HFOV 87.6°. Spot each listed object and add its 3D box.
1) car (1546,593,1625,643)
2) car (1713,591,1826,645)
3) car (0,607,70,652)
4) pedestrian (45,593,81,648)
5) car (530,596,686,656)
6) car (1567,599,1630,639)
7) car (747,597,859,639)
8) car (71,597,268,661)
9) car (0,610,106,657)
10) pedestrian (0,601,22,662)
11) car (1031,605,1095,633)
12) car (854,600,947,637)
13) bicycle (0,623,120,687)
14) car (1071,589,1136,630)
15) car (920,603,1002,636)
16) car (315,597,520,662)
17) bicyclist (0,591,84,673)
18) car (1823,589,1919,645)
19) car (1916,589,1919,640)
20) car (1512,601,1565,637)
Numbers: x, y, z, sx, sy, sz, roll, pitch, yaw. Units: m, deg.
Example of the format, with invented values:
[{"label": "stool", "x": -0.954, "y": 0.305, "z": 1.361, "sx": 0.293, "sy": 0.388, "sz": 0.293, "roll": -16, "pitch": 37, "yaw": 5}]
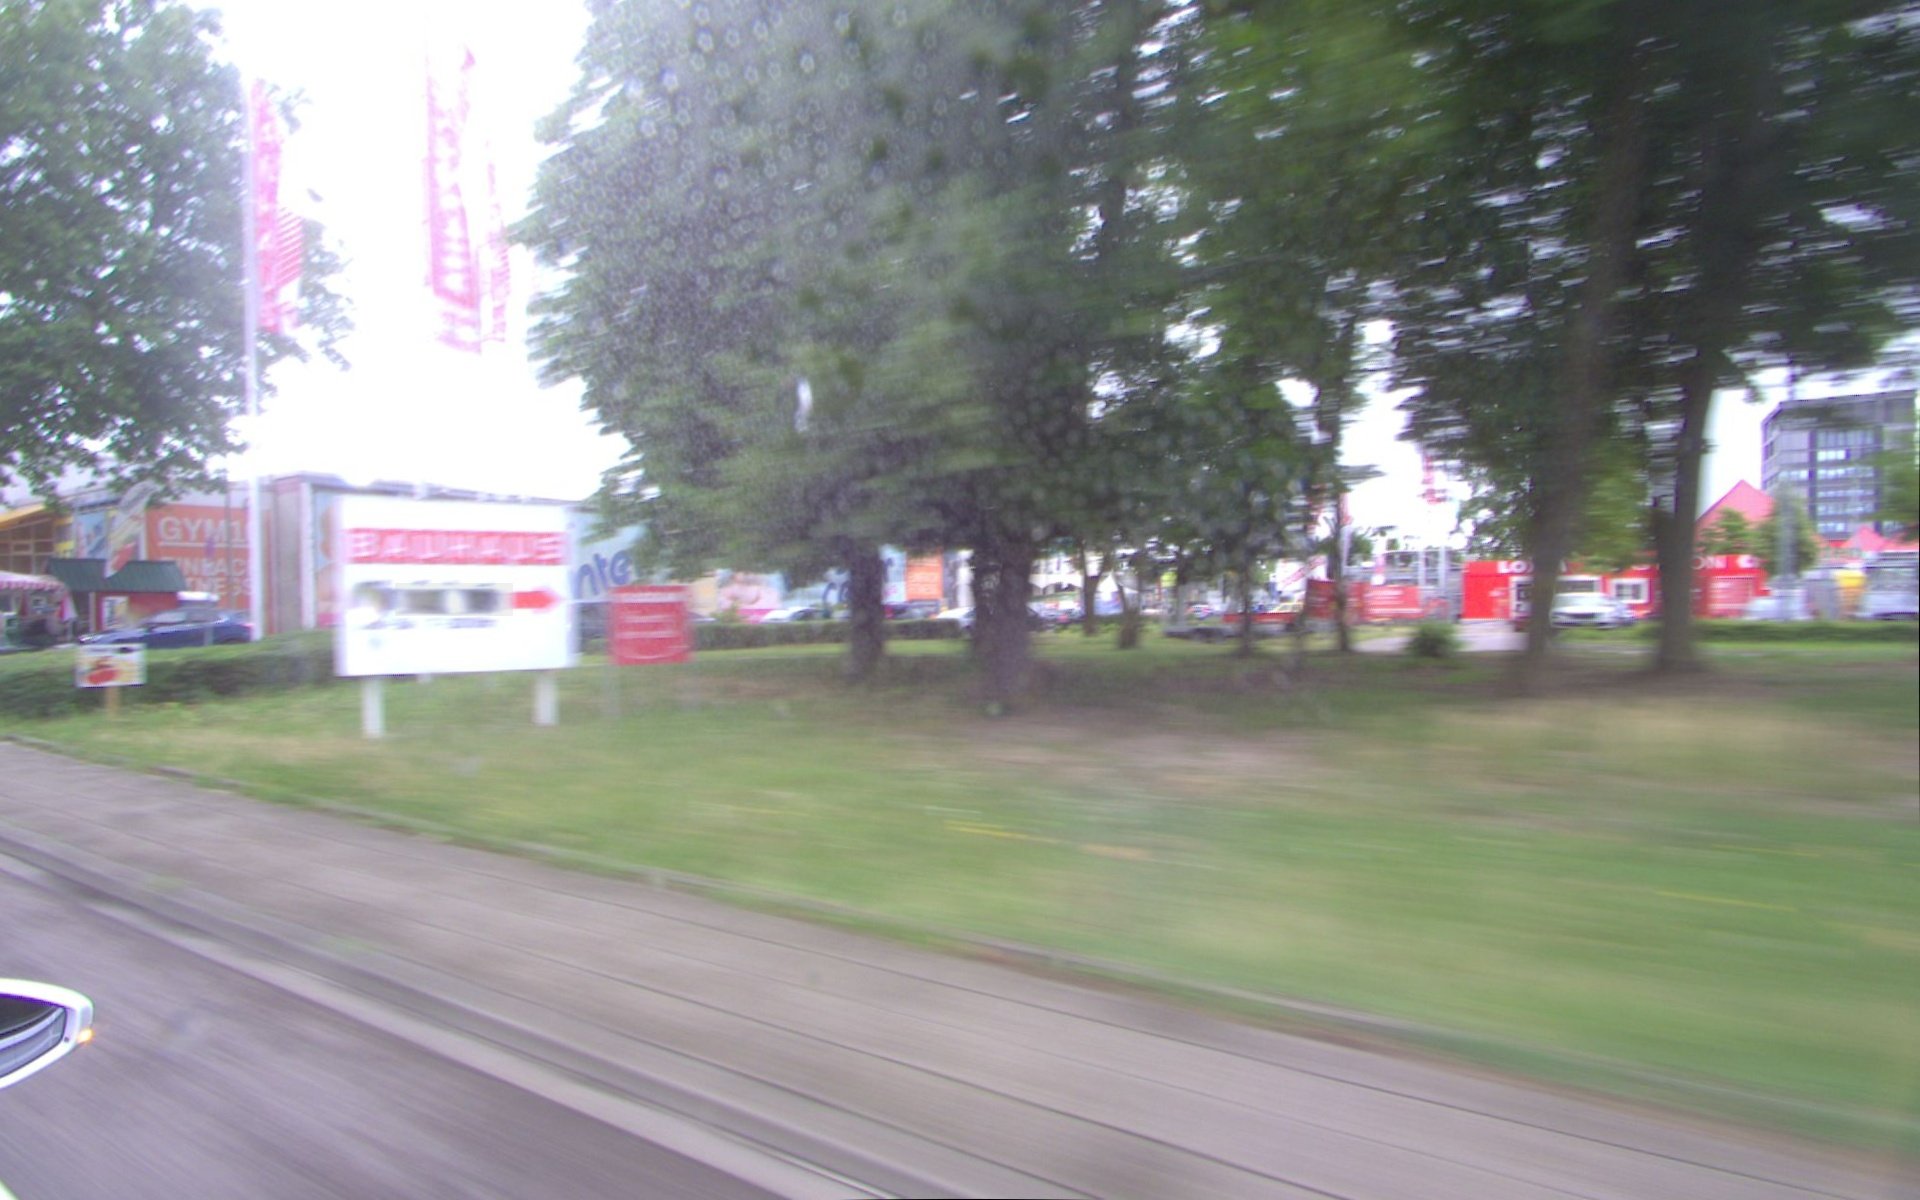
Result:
[{"label": "car", "x": 22.697, "y": 0.608, "z": 36.507, "sx": 2.122, "sy": 1.699, "sz": 4.548, "roll": -1, "pitch": 0, "yaw": 28}, {"label": "car", "x": 27.037, "y": 0.565, "z": 33.609, "sx": 2.122, "sy": 1.699, "sz": 4.548, "roll": -1, "pitch": 0, "yaw": 28}, {"label": "car", "x": -34.750, "y": 1.079, "z": 35.692, "sx": 1.763, "sy": 1.572, "sz": 4.206, "roll": -1, "pitch": 0, "yaw": 30}, {"label": "pedestrian", "x": -28.548, "y": 0.646, "z": 31.864, "sx": 0.589, "sy": 1.728, "sz": 0.678, "roll": 0, "pitch": 1, "yaw": 31}, {"label": "car", "x": -11.458, "y": 0.806, "z": 32.902, "sx": 2.044, "sy": 1.814, "sz": 4.542, "roll": 1, "pitch": 0, "yaw": 33}, {"label": "car", "x": 29.156, "y": 0.840, "z": 45.845, "sx": 2.123, "sy": 1.699, "sz": 4.547, "roll": -1, "pitch": 0, "yaw": 29}, {"label": "car", "x": -6.407, "y": 0.705, "z": 41.360, "sx": 2.044, "sy": 1.592, "sz": 4.542, "roll": -1, "pitch": 0, "yaw": 33}, {"label": "car", "x": -22.830, "y": 0.772, "z": 29.045, "sx": 1.969, "sy": 1.699, "sz": 4.192, "roll": 0, "pitch": 0, "yaw": 41}, {"label": "car", "x": -32.756, "y": 1.157, "z": 34.880, "sx": 1.763, "sy": 1.572, "sz": 4.206, "roll": -1, "pitch": 0, "yaw": 30}, {"label": "pedestrian", "x": -27.308, "y": 0.893, "z": 28.524, "sx": 0.589, "sy": 1.728, "sz": 0.678, "roll": 0, "pitch": 1, "yaw": 31}, {"label": "car", "x": 6.332, "y": 1.117, "z": 60.974, "sx": 2.044, "sy": 1.592, "sz": 4.542, "roll": -1, "pitch": 0, "yaw": 33}, {"label": "car", "x": -2.708, "y": 0.822, "z": 46.787, "sx": 2.044, "sy": 1.592, "sz": 4.542, "roll": -1, "pitch": 0, "yaw": 33}, {"label": "bicycle", "x": -19.270, "y": 1.130, "z": 20.896, "sx": 0.804, "sy": 1.229, "sz": 2.679, "roll": -1, "pitch": 0, "yaw": 15}, {"label": "car", "x": 9.525, "y": 0.579, "z": 66.116, "sx": 2.044, "sy": 2.571, "sz": 5.729, "roll": 0, "pitch": 0, "yaw": 33}, {"label": "car", "x": 0.088, "y": 0.965, "z": 51.014, "sx": 2.044, "sy": 1.592, "sz": 4.542, "roll": -1, "pitch": 0, "yaw": 33}, {"label": "car", "x": -14.672, "y": 0.733, "z": 27.332, "sx": 1.965, "sy": 1.592, "sz": 4.542, "roll": -1, "pitch": 0, "yaw": 33}, {"label": "bicyclist", "x": -19.275, "y": 0.647, "z": 20.885, "sx": 0.804, "sy": 1.652, "sz": 1.233, "roll": -1, "pitch": 1, "yaw": 15}, {"label": "car", "x": 29.592, "y": 0.497, "z": 31.977, "sx": 2.122, "sy": 1.699, "sz": 4.548, "roll": -1, "pitch": 0, "yaw": 28}, {"label": "car", "x": 31.674, "y": 0.481, "z": 30.783, "sx": 2.122, "sy": 1.699, "sz": 4.548, "roll": -1, "pitch": 0, "yaw": 28}, {"label": "car", "x": 27.584, "y": 0.887, "z": 47.862, "sx": 2.123, "sy": 1.576, "sz": 4.547, "roll": -1, "pitch": 0, "yaw": 29}]
